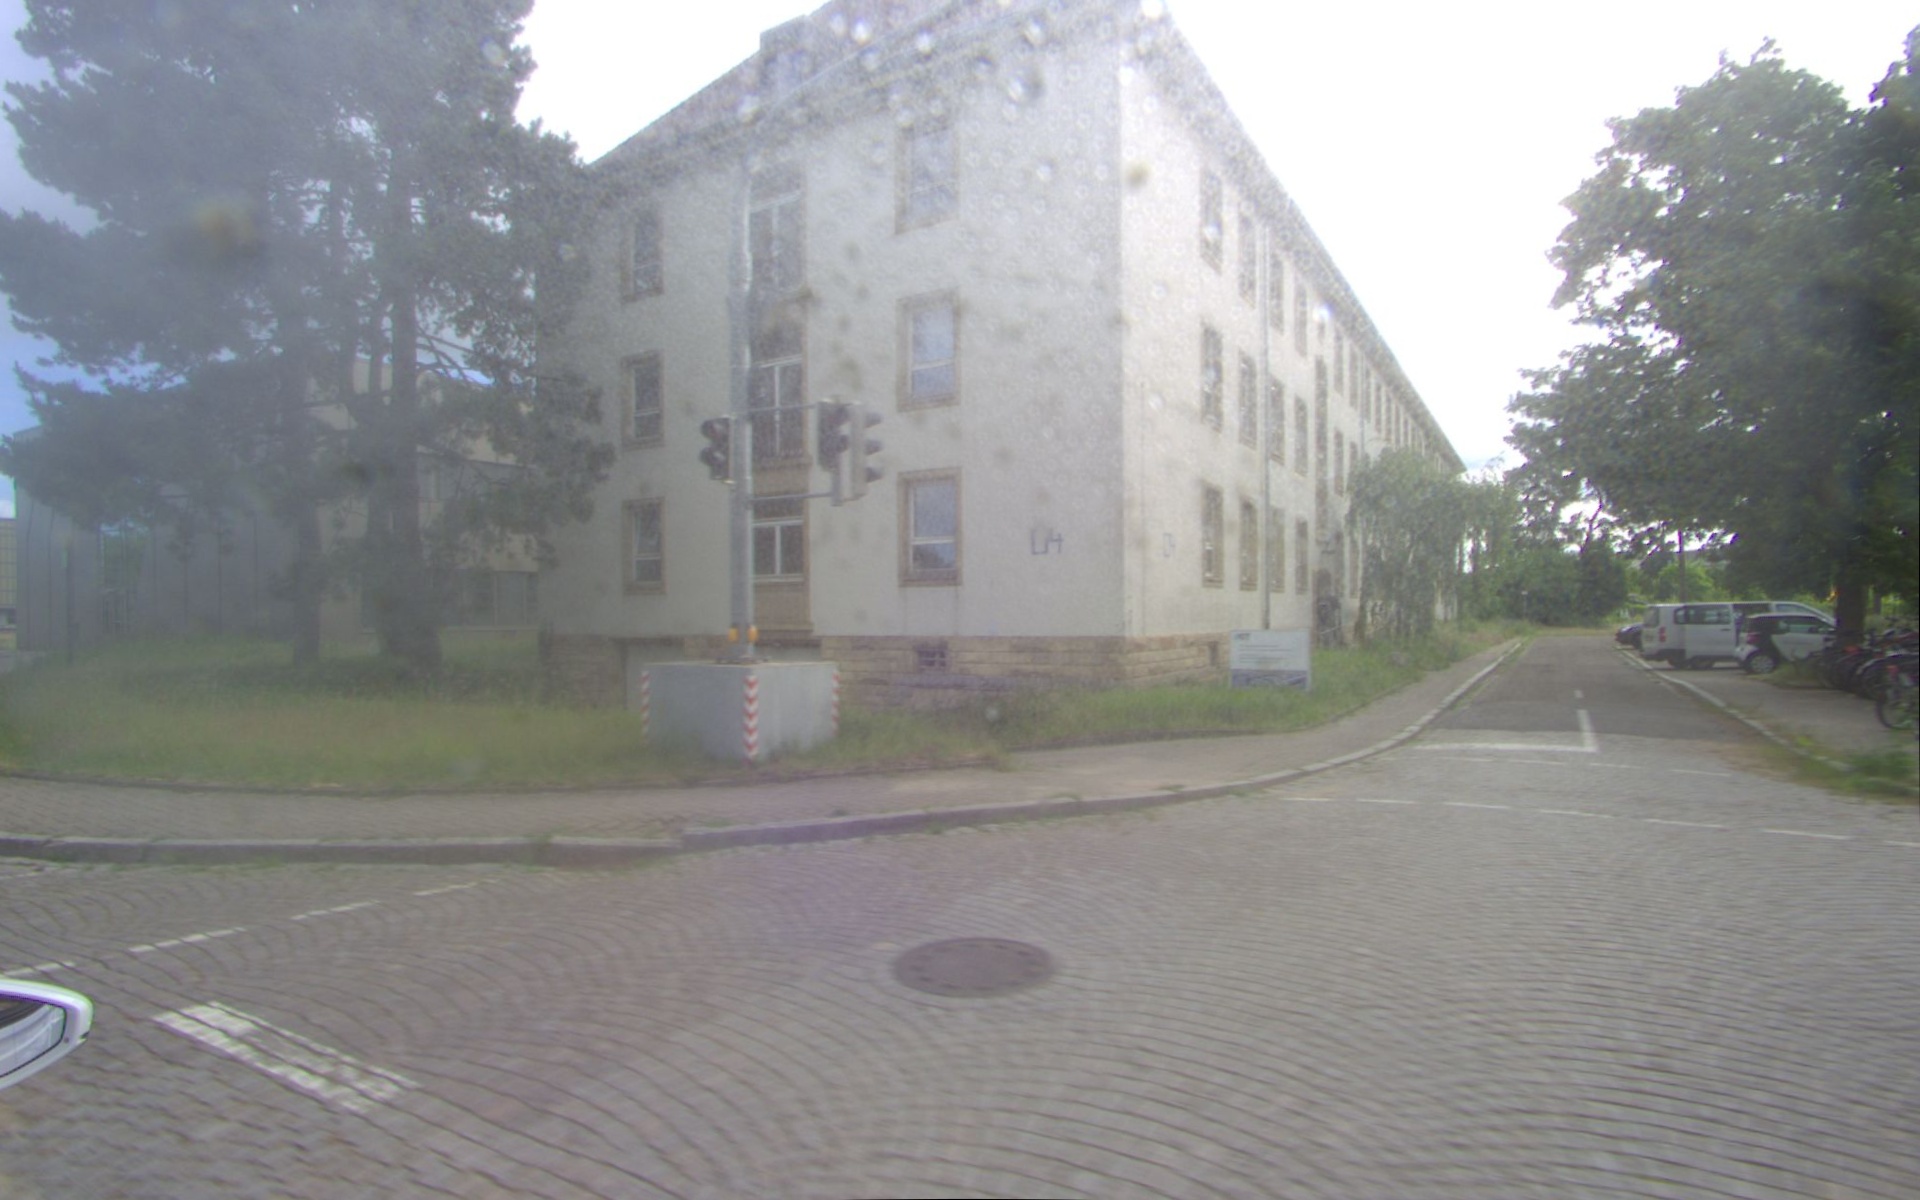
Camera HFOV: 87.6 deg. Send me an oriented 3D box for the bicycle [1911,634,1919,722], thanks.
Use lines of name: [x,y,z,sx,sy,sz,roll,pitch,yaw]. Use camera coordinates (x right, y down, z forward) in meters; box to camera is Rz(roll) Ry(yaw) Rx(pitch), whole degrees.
bicycle: [14.245,1.091,13.778,1.617,1.231,0.539,0,0,37]

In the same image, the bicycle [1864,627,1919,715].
bicycle: [15.056,1.084,15.229,1.895,1.337,0.504,0,0,37]

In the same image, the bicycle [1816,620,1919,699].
bicycle: [16.897,1.067,18.122,2.075,1.385,0.755,0,0,37]

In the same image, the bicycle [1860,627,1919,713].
bicycle: [15.312,1.097,15.600,1.893,1.337,0.390,0,0,37]

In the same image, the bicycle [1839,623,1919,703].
bicycle: [16.282,1.072,17.001,1.989,1.337,0.538,0,0,37]

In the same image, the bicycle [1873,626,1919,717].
bicycle: [14.771,1.065,14.714,1.950,1.337,0.574,0,0,37]

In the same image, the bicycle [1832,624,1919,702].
bicycle: [16.631,1.088,17.452,2.104,1.337,0.553,0,0,37]

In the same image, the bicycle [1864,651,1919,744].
bicycle: [11.560,1.161,12.177,0.535,1.027,1.534,0,-1,30]

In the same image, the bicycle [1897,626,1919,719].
bicycle: [14.640,1.044,14.127,2.021,1.337,0.436,0,0,37]

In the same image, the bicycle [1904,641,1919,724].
bicycle: [13.886,1.118,13.320,1.877,1.116,0.539,0,0,37]

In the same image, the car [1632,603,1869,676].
car: [22.273,1.080,28.473,4.774,1.935,2.237,0,0,16]

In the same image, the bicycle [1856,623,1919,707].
bicycle: [15.611,1.035,16.038,1.829,1.337,0.553,0,0,37]

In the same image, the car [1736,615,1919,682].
car: [21.814,1.152,24.869,3.876,1.550,1.852,0,-1,33]

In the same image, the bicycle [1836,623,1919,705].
bicycle: [15.840,1.053,16.612,1.913,1.337,0.551,0,0,37]

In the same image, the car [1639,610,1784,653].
car: [29.934,1.251,40.088,4.452,1.639,1.990,-1,-1,32]

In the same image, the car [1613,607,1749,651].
car: [30.973,1.236,43.196,4.628,1.796,1.990,-1,-1,32]
